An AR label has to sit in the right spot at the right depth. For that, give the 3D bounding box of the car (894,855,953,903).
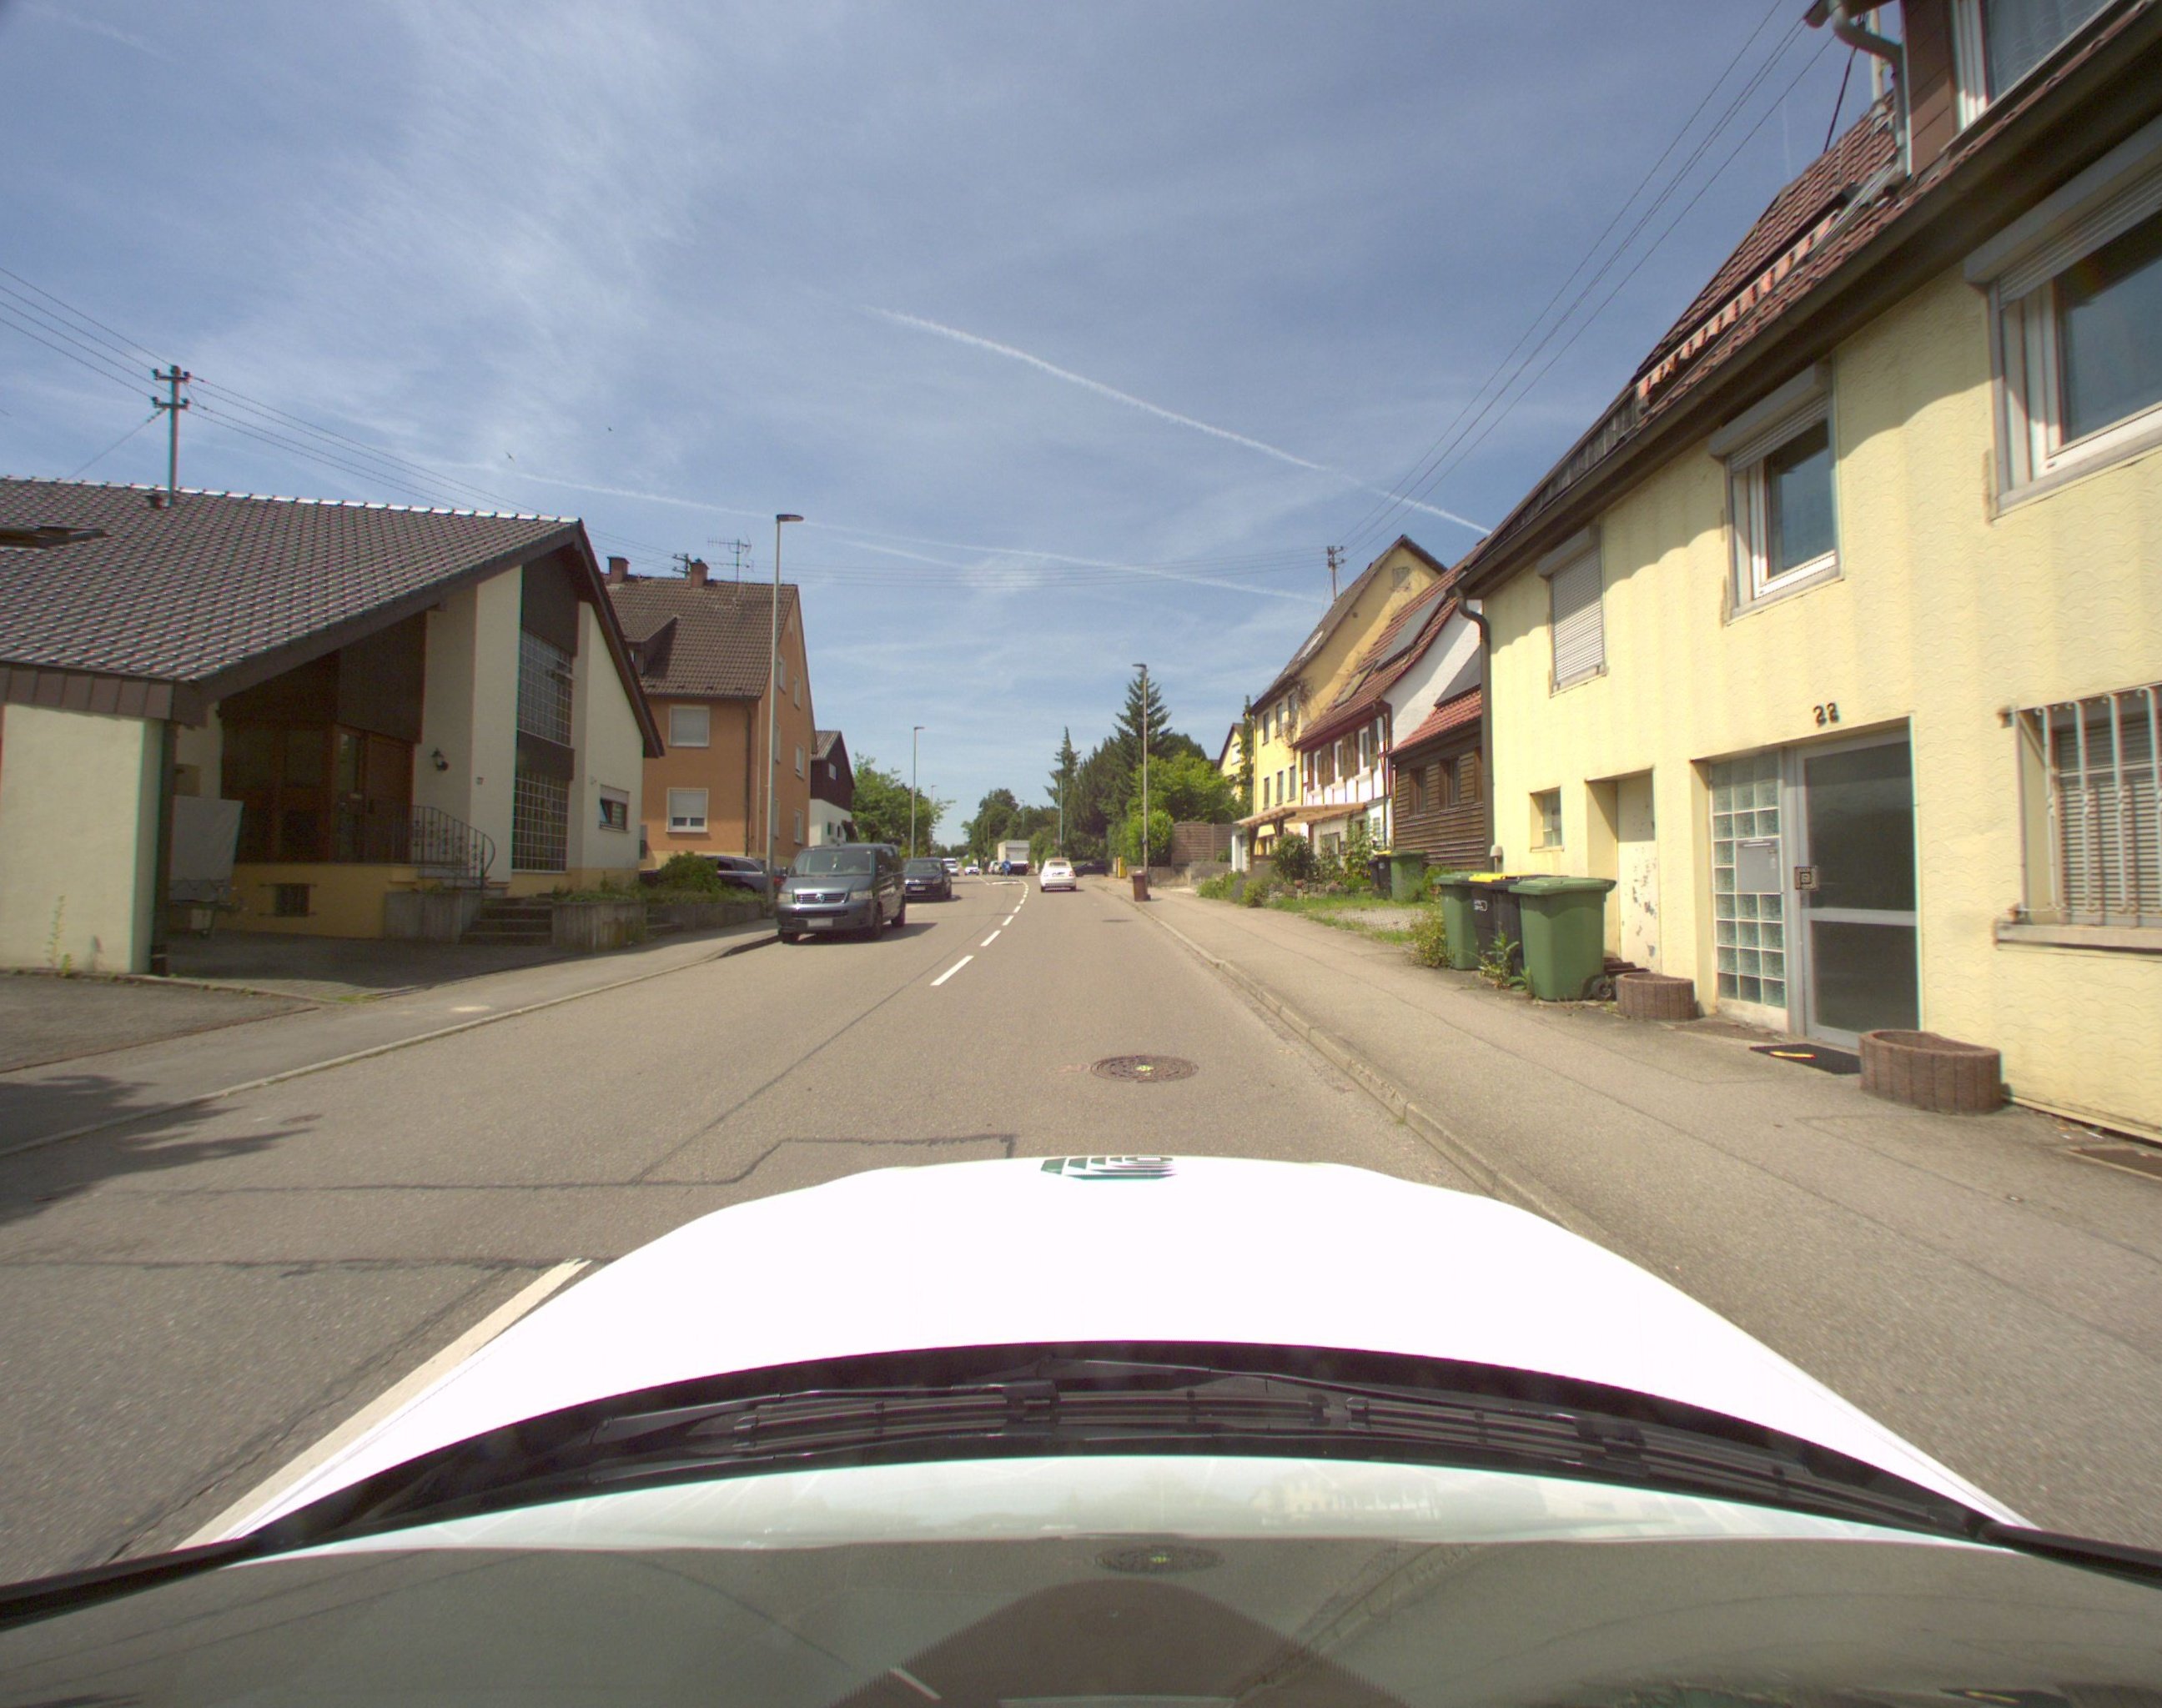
[{"bbox_3d":[-5.900,0.902,30.942,1.766,1.636,4.279,-1,0,-5],"label":"car"}]

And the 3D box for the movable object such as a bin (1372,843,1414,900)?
[{"bbox_3d":[6.750,0.386,17.637,0.534,1.157,0.548,-7,0,-5],"label":"movable object such as a bin"}]

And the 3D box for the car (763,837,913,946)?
[{"bbox_3d":[-4.958,0.710,17.413,1.886,1.937,4.980,-2,-1,-3],"label":"car"}]

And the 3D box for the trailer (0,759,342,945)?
[{"bbox_3d":[-12.774,-0.086,10.771,3.823,2.014,1.997,6,-1,-4],"label":"trailer"}]

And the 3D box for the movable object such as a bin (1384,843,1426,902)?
[{"bbox_3d":[6.783,0.375,17.071,0.534,1.157,0.510,-7,0,-4],"label":"movable object such as a bin"}]

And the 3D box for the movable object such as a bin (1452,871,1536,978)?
[{"bbox_3d":[4.300,0.718,8.505,0.545,1.033,0.551,-3,0,0],"label":"movable object such as a bin"}]

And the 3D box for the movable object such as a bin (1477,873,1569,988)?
[{"bbox_3d":[4.280,0.723,7.907,0.545,1.033,0.551,-3,0,0],"label":"movable object such as a bin"}]

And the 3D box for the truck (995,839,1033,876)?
[{"bbox_3d":[-7.309,0.449,87.964,3.072,3.774,7.832,-1,-1,-13],"label":"truck"}]

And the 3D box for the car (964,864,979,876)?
[{"bbox_3d":[-14.480,2.130,107.566,1.782,1.529,4.158,-1,-1,-8],"label":"car"}]

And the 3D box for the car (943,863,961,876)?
[{"bbox_3d":[-15.235,1.818,96.232,1.806,1.398,3.982,-1,-1,-13],"label":"car"}]

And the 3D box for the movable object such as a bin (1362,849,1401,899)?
[{"bbox_3d":[6.732,0.440,18.248,0.534,1.057,0.548,-7,0,-5],"label":"movable object such as a bin"}]

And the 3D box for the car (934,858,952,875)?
[{"bbox_3d":[-18.534,1.633,109.265,2.039,2.200,5.558,-1,-1,-13],"label":"car"}]

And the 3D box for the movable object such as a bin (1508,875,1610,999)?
[{"bbox_3d":[4.286,0.725,7.327,0.545,1.033,0.551,-3,0,0],"label":"movable object such as a bin"}]

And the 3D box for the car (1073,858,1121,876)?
[{"bbox_3d":[1.323,1.114,70.088,3.930,1.458,1.654,-1,-1,-7],"label":"car"}]

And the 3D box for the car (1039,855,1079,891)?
[{"bbox_3d":[-0.996,0.855,38.033,1.720,1.560,3.998,-1,-1,-1],"label":"car"}]

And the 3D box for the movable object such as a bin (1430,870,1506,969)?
[{"bbox_3d":[4.313,0.719,9.107,0.545,1.033,0.551,-3,0,0],"label":"movable object such as a bin"}]

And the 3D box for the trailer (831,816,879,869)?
[{"bbox_3d":[-12.918,-0.581,46.895,1.710,2.848,6.160,0,-1,-6],"label":"trailer"}]

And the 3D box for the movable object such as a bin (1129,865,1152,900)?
[{"bbox_3d":[1.848,0.888,25.219,0.490,1.033,0.551,-5,-1,21],"label":"movable object such as a bin"}]

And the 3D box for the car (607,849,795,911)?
[{"bbox_3d":[-10.269,0.696,22.324,4.226,1.405,1.816,4,-1,-8],"label":"car"}]
